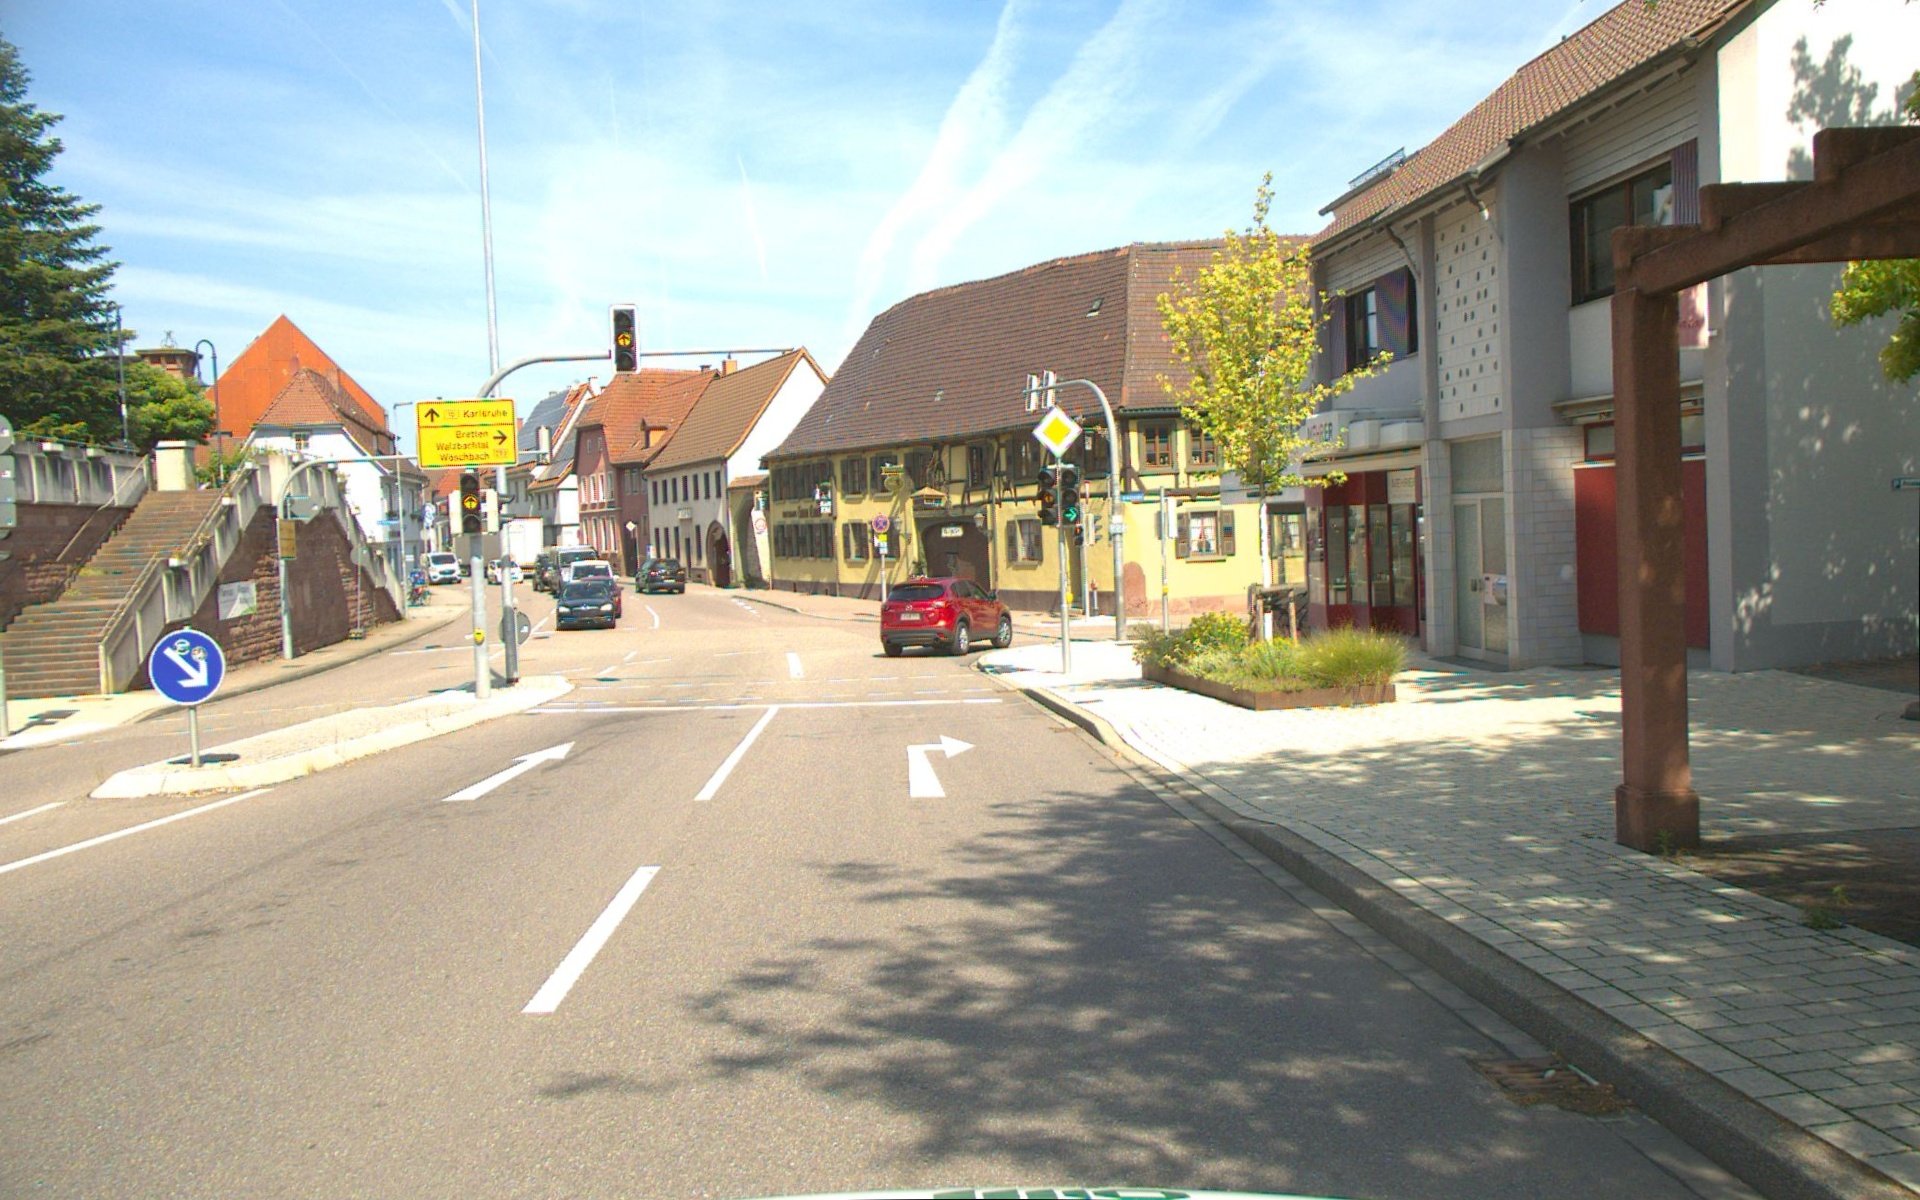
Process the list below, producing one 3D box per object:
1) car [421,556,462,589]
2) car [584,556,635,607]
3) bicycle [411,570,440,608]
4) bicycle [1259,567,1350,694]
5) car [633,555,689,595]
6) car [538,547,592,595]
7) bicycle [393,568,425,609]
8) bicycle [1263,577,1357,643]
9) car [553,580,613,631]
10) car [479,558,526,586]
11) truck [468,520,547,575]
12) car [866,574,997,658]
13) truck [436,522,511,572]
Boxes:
[{"bbox_3d":[-33.828,-1.819,107.814,2.108,2.000,5.243,-4,2,-22],"label":"car"},{"bbox_3d":[-14.657,-0.824,68.965,1.790,1.939,4.946,-3,3,-15],"label":"car"},{"bbox_3d":[-23.736,-0.504,73.505,0.546,1.635,2.561,0,1,-3],"label":"bicycle"},{"bbox_3d":[3.872,0.304,18.727,0.519,1.301,1.992,-5,1,0],"label":"bicycle"},{"bbox_3d":[-14.391,-1.240,79.421,1.796,1.768,3.979,-4,3,-22],"label":"car"},{"bbox_3d":[-19.389,-1.458,81.040,1.735,2.285,4.518,-1,2,-24],"label":"car"},{"bbox_3d":[-24.858,-0.542,74.630,0.628,1.810,2.669,0,1,-3],"label":"bicycle"},{"bbox_3d":[7.212,0.194,34.107,1.768,1.256,0.549,-3,1,-4],"label":"bicycle"},{"bbox_3d":[-12.327,0.148,54.235,1.789,1.459,4.236,-2,2,-12],"label":"car"},{"bbox_3d":[-28.081,-1.714,101.363,1.768,1.552,3.964,-4,3,-30],"label":"car"},{"bbox_3d":[-31.284,-3.600,114.058,3.188,3.611,9.141,-1,2,-29],"label":"truck"},{"bbox_3d":[-0.579,0.314,36.884,1.766,1.692,3.815,-2,1,17],"label":"car"},{"bbox_3d":[-36.146,-3.815,122.678,3.125,3.520,10.609,0,1,-29],"label":"truck"}]
